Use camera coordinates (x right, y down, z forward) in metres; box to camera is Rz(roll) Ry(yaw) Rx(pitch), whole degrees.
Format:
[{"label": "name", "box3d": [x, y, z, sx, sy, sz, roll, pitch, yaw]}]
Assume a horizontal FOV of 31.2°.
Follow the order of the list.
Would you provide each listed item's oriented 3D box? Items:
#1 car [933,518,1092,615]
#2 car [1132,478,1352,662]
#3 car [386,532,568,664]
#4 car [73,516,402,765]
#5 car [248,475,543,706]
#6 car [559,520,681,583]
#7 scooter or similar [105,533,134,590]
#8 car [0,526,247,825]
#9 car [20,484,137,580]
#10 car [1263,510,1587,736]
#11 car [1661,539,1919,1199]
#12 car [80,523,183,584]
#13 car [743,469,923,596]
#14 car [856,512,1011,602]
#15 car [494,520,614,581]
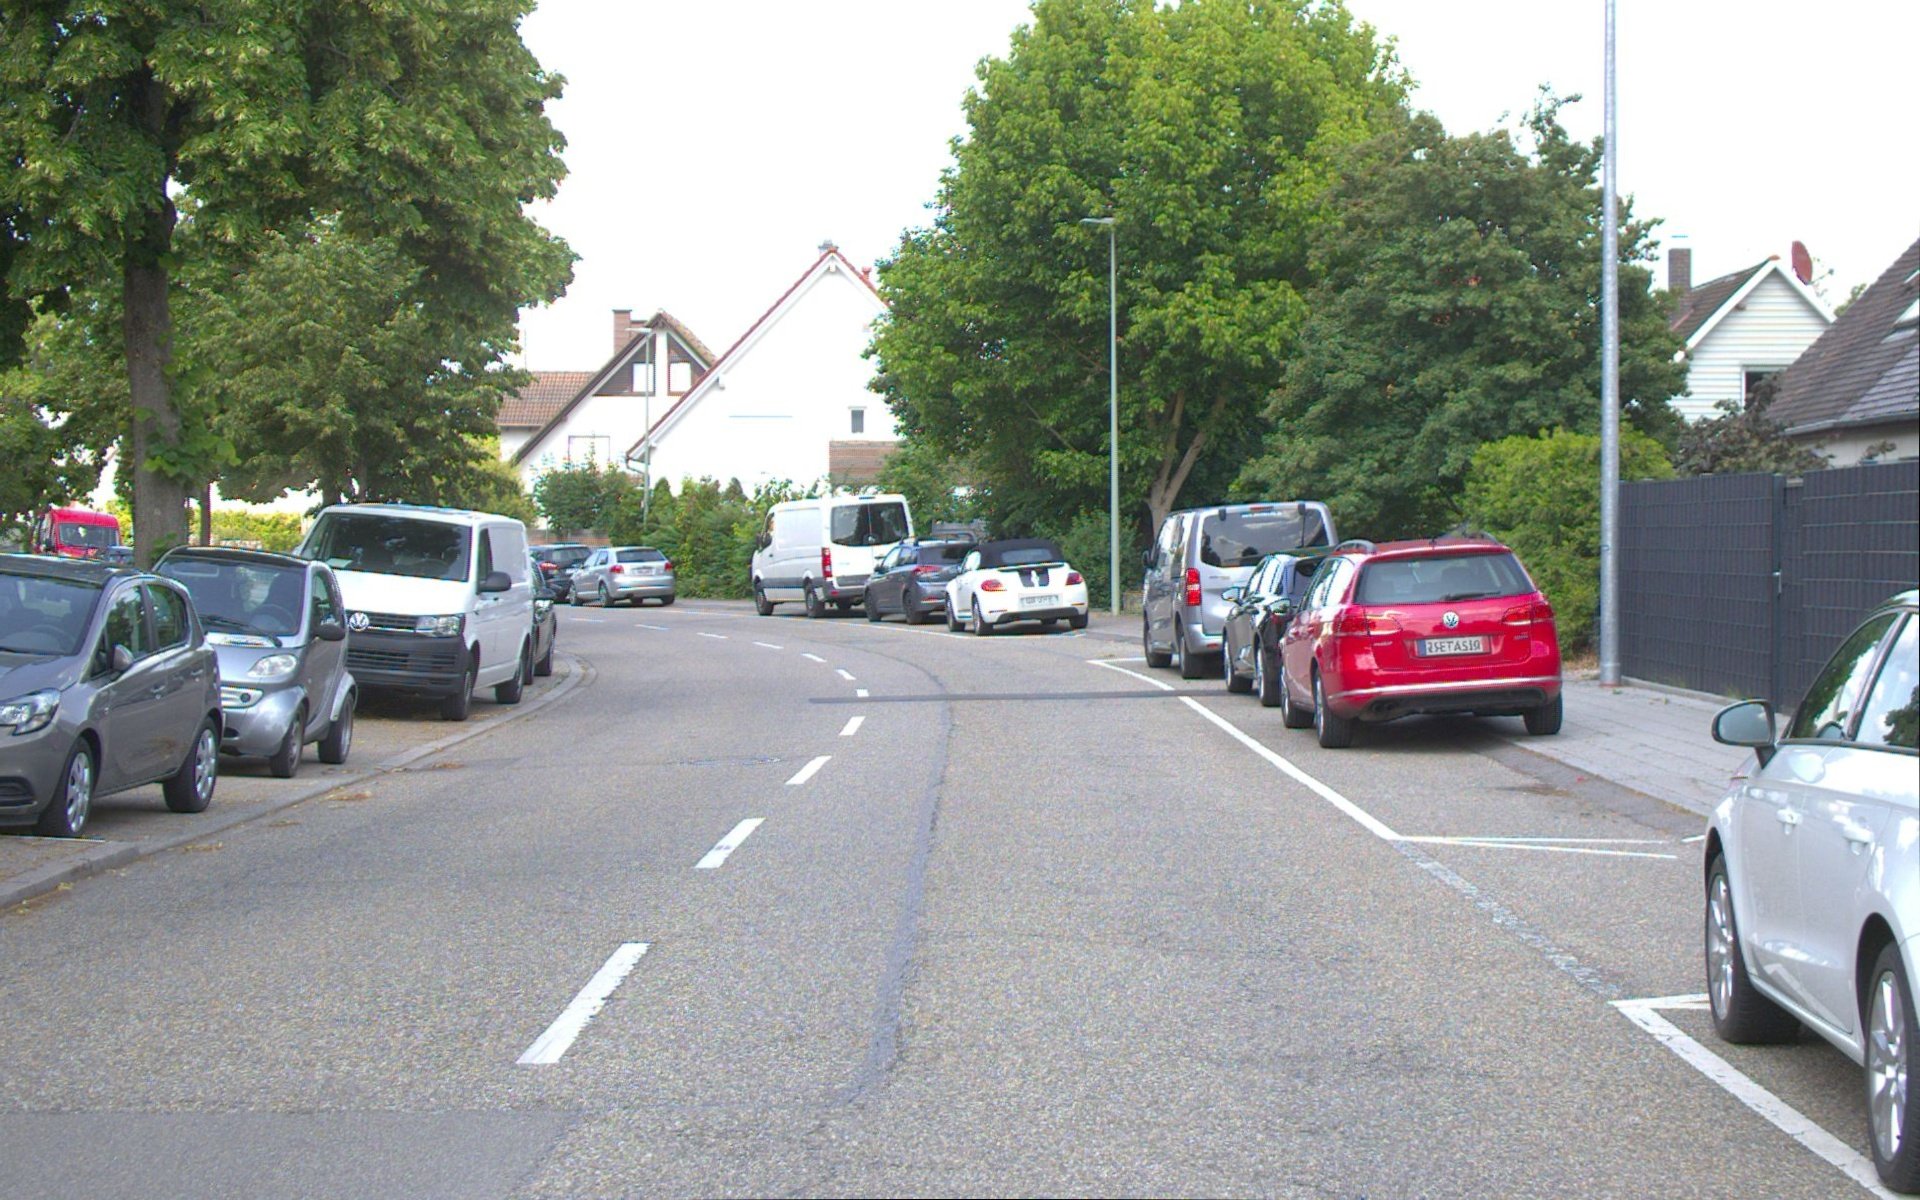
[{"label": "car", "box3d": [0.811, -0.573, 56.039, 1.739, 1.507, 4.460, 0, 1, -11]}, {"label": "car", "box3d": [3.170, -0.373, 39.631, 1.842, 1.938, 4.877, -2, 1, -3]}, {"label": "car", "box3d": [-5.784, -0.066, 41.561, 1.760, 1.484, 4.505, 1, 1, -3]}, {"label": "car", "box3d": [-5.226, 0.232, 25.297, 1.517, 1.544, 3.756, 6, 1, -1]}, {"label": "car", "box3d": [-5.368, -0.148, 33.380, 1.879, 2.002, 5.322, 2, 1, 1]}, {"label": "car", "box3d": [-8.234, -1.180, 82.938, 1.737, 1.452, 4.366, 0, 1, -23]}, {"label": "scooter or similar", "box3d": [-17.630, -0.802, 72.123, 0.419, 1.161, 1.141, 2, 1, -21]}, {"label": "car", "box3d": [-5.341, 0.345, 19.234, 1.684, 1.481, 3.983, 3, 0, 2]}, {"label": "car", "box3d": [-24.895, -1.939, 96.981, 2.063, 2.492, 5.842, 4, 0, -24]}, {"label": "car", "box3d": [3.475, 0.114, 26.518, 1.850, 1.574, 4.733, 1, 1, 0]}, {"label": "car", "box3d": [3.009, 0.591, 9.125, 1.721, 1.481, 3.749, 1, 1, 4]}, {"label": "car", "box3d": [-21.984, -1.240, 91.101, 1.786, 1.452, 4.436, 4, -1, -24]}, {"label": "car", "box3d": [-2.617, -1.367, 69.108, 2.117, 2.432, 5.896, 0, 1, -17]}, {"label": "car", "box3d": [-0.531, -0.808, 62.999, 1.717, 1.580, 4.125, 0, 1, -17]}, {"label": "car", "box3d": [-10.454, -1.278, 88.286, 1.737, 1.504, 4.477, 0, 1, -25]}]
